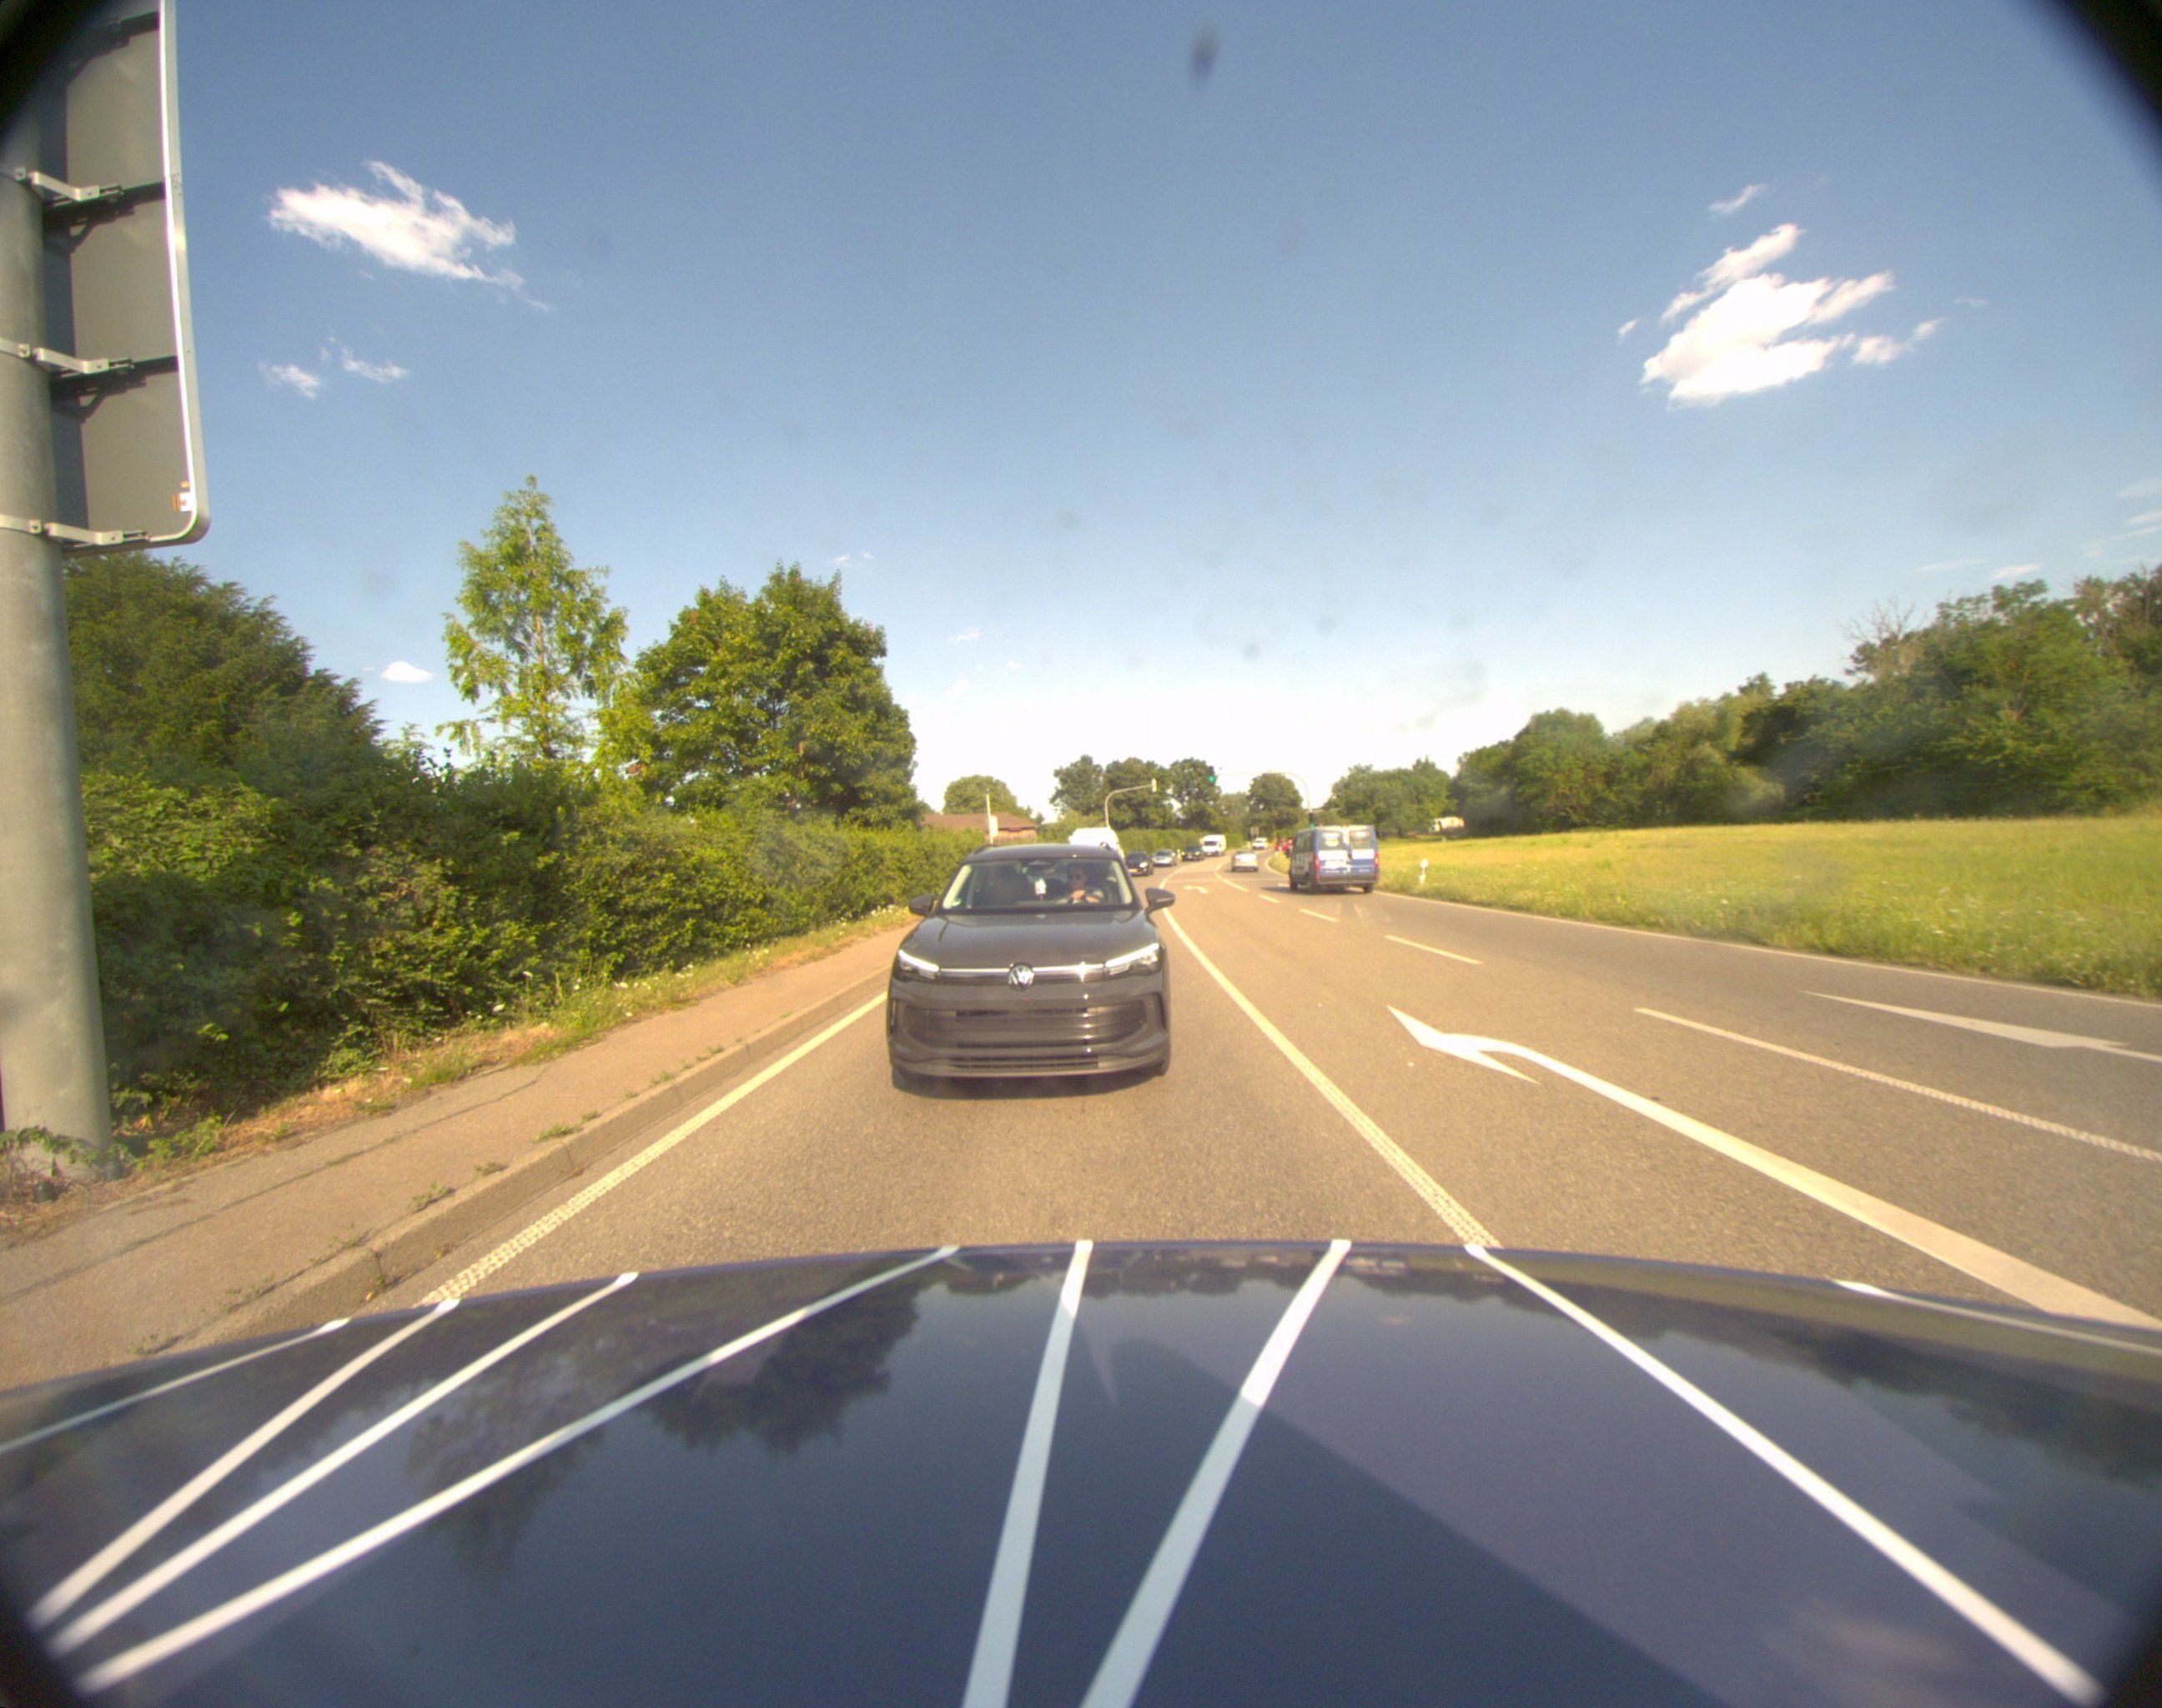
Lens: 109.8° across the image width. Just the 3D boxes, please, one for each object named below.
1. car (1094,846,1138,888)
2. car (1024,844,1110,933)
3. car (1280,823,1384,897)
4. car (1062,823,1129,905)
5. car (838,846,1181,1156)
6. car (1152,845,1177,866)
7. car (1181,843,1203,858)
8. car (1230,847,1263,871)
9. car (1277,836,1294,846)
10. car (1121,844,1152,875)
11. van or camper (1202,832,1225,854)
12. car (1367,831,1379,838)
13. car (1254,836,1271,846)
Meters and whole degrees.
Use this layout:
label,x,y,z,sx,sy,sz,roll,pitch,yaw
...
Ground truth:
label,x,y,z,sx,sy,sz,roll,pitch,yaw
car,1.614,0.545,33.566,1.693,1.718,3.669,-1,1,6
car,-0.207,0.673,16.890,1.659,1.720,3.804,-1,1,2
car,8.131,0.176,25.103,2.003,2.124,4.780,-3,0,3
car,0.563,0.277,24.559,1.844,2.338,4.790,-1,1,4
car,-0.357,0.805,6.216,1.865,1.633,4.000,-1,2,1
car,6.888,0.091,62.499,1.633,1.550,3.419,-1,2,13
car,11.220,-0.326,76.918,1.605,1.471,3.621,0,1,18
car,10.761,0.299,49.682,1.710,1.420,4.180,-3,0,8
car,29.955,-1.876,111.474,1.586,1.458,3.613,-1,0,28
car,3.414,0.321,46.442,1.673,1.718,3.669,0,2,8
van or camper,16.243,-1.342,92.700,2.031,2.461,5.082,-4,0,17
car,67.916,-4.562,176.865,1.635,1.685,3.625,0,2,38
car,29.106,-2.096,121.851,1.671,1.471,3.500,-4,1,30
